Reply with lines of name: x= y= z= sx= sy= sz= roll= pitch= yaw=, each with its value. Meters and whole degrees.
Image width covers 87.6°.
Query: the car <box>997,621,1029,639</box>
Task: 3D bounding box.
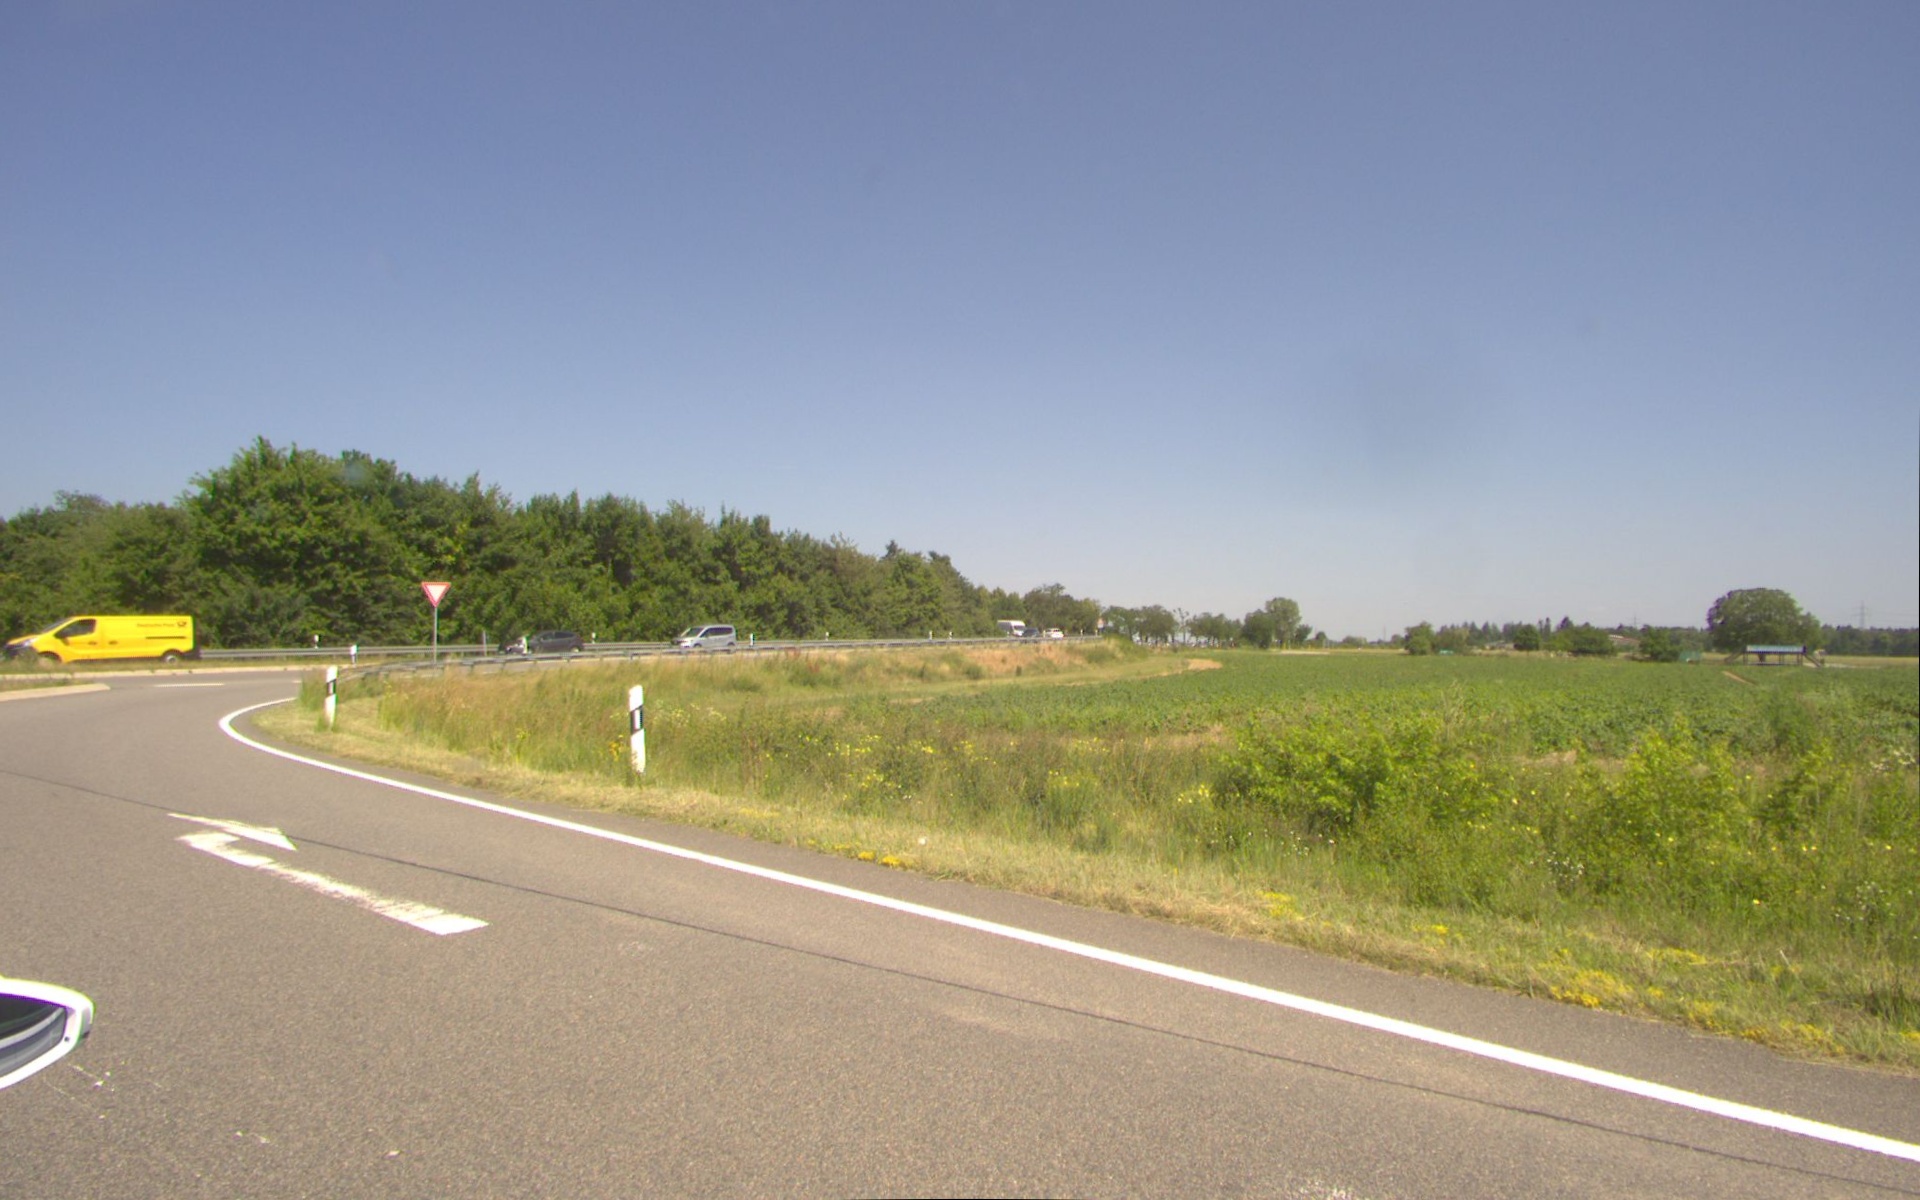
car: x=6.690 y=3.849 z=127.240 sx=2.014 sy=2.303 sz=5.565 roll=0 pitch=-2 yaw=-21

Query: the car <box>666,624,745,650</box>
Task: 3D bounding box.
car: x=-15.207 y=2.212 z=60.033 sx=1.827 sy=1.533 sz=4.674 roll=-1 pitch=-2 yaw=32

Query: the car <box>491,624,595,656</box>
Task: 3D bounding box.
car: x=-20.990 y=2.016 z=50.559 sx=1.828 sy=1.533 sz=4.671 roll=-1 pitch=-2 yaw=34

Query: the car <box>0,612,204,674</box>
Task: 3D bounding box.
car: x=-30.696 y=1.509 z=35.986 sx=1.974 sy=2.039 sz=5.307 roll=-1 pitch=-2 yaw=35

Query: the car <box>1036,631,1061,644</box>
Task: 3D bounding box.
car: x=11.327 y=4.831 z=128.781 sx=1.708 sy=1.587 sz=4.476 roll=-1 pitch=-1 yaw=-16

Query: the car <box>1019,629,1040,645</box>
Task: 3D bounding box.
car: x=7.417 y=3.944 z=107.096 sx=1.706 sy=1.587 sz=4.481 roll=-1 pitch=-1 yaw=11
